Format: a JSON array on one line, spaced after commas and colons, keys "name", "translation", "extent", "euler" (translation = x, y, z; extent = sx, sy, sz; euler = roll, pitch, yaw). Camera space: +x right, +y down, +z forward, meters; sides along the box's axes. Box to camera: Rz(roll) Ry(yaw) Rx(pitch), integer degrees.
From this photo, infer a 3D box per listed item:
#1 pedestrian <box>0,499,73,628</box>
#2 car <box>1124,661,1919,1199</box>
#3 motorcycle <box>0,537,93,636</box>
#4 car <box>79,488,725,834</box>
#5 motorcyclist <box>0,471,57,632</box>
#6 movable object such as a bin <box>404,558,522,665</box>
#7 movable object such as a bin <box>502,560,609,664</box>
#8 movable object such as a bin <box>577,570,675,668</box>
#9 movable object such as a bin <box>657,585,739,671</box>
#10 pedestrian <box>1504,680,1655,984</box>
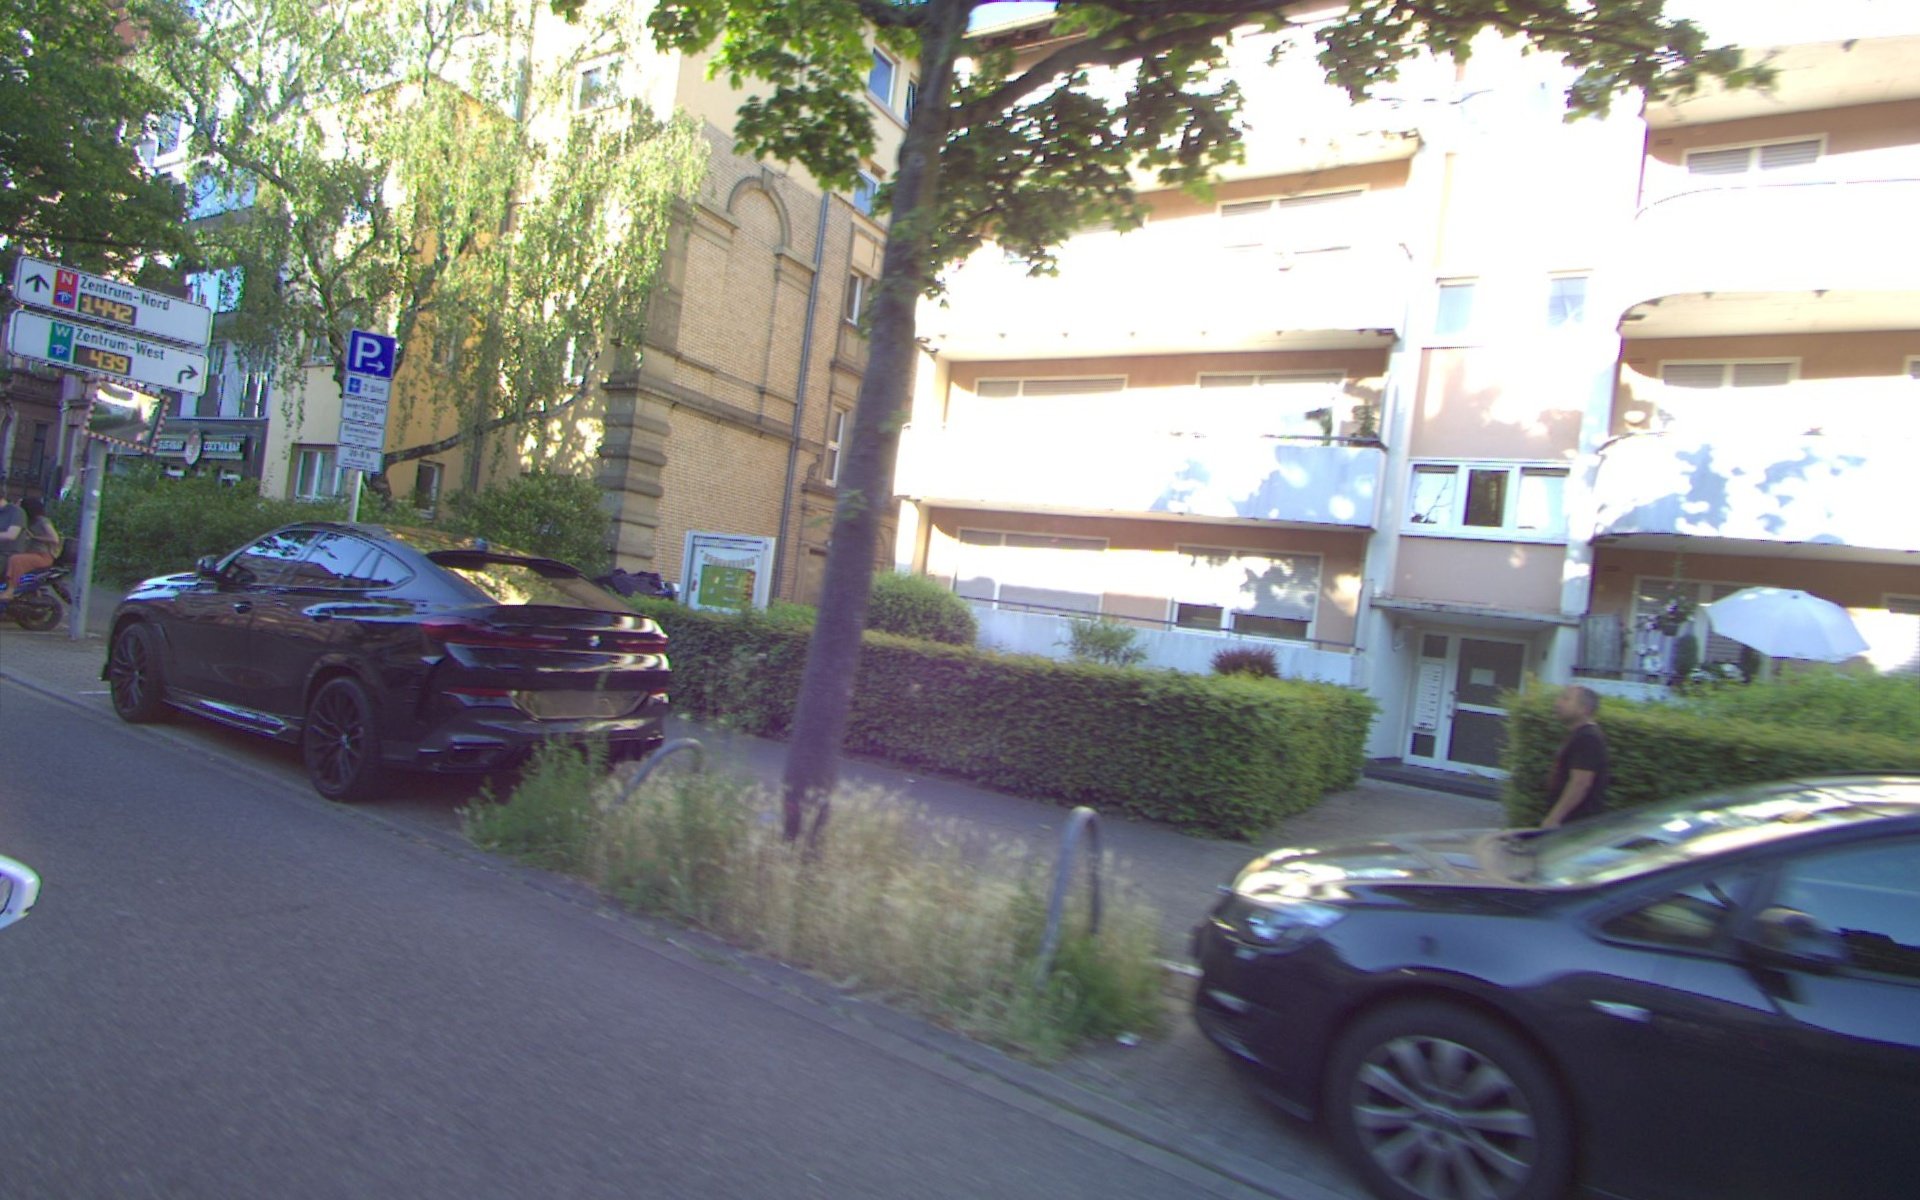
[{"name": "pedestrian", "translation": [-11.234, -0.439, 12.095], "extent": [0.691, 1.447, 0.440], "euler": [7, -1, 20]}, {"name": "car", "translation": [2.936, 1.235, 3.093], "extent": [4.356, 1.490, 1.719], "euler": [7, -1, 30]}, {"name": "motorcycle", "translation": [-11.566, -0.215, 11.758], "extent": [0.805, 1.083, 1.933], "euler": [7, -2, 20]}, {"name": "car", "translation": [-4.245, 0.279, 7.436], "extent": [4.716, 1.674, 1.952], "euler": [7, -1, 31]}, {"name": "motorcyclist", "translation": [-11.345, -0.604, 11.652], "extent": [1.068, 1.799, 0.739], "euler": [7, -1, 20]}, {"name": "movable object such as a bin", "translation": [-7.645, 0.180, 15.482], "extent": [1.249, 1.458, 0.982], "euler": [8, -1, -44]}, {"name": "movable object such as a bin", "translation": [-6.770, 0.223, 16.873], "extent": [0.976, 1.574, 1.159], "euler": [7, -1, 22]}, {"name": "movable object such as a bin", "translation": [-5.929, 0.350, 17.928], "extent": [0.976, 1.574, 1.159], "euler": [7, -1, 22]}, {"name": "movable object such as a bin", "translation": [-5.004, 0.526, 19.196], "extent": [1.130, 1.459, 0.987], "euler": [8, -1, -30]}, {"name": "pedestrian", "translation": [3.725, 1.342, 6.094], "extent": [0.570, 1.635, 0.747], "euler": [7, -1, 30]}]
